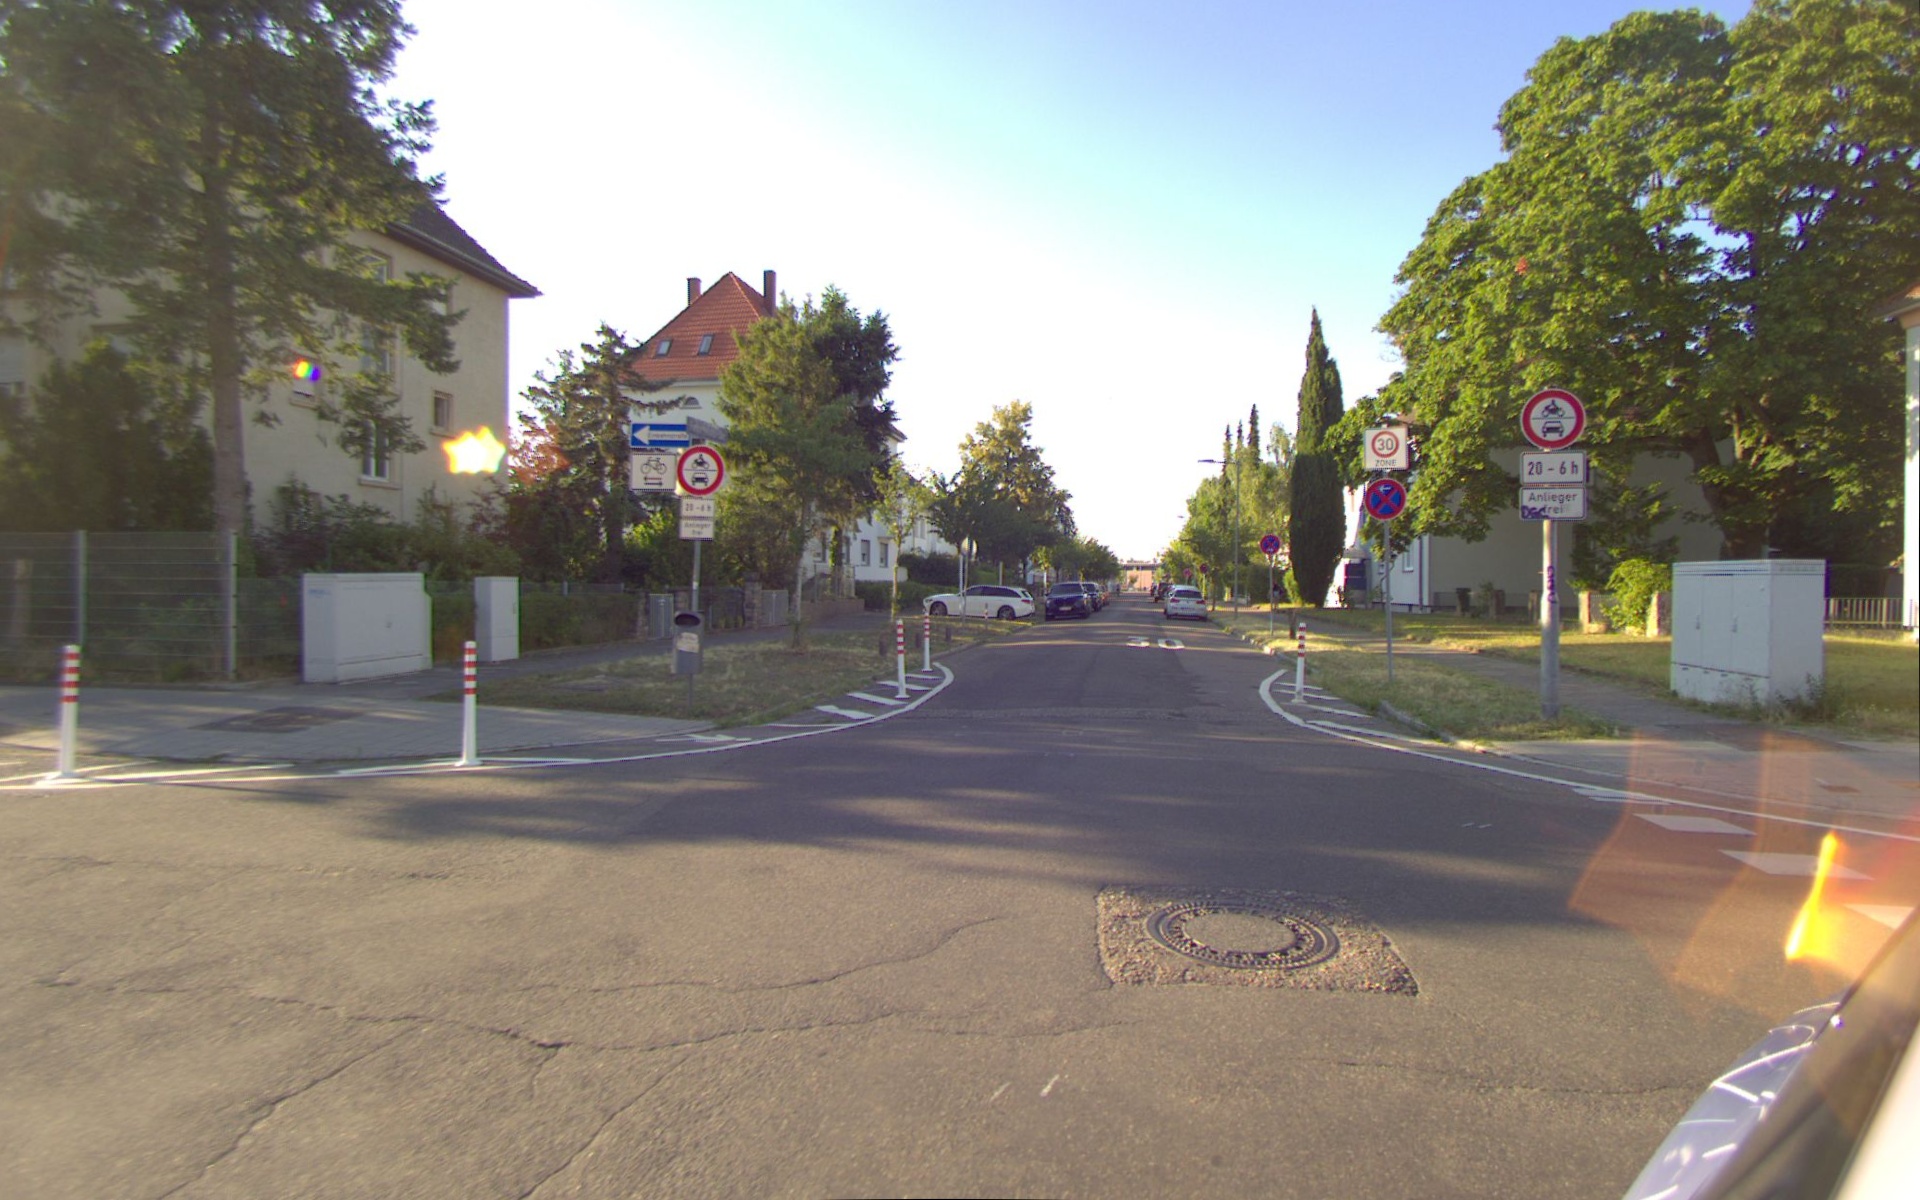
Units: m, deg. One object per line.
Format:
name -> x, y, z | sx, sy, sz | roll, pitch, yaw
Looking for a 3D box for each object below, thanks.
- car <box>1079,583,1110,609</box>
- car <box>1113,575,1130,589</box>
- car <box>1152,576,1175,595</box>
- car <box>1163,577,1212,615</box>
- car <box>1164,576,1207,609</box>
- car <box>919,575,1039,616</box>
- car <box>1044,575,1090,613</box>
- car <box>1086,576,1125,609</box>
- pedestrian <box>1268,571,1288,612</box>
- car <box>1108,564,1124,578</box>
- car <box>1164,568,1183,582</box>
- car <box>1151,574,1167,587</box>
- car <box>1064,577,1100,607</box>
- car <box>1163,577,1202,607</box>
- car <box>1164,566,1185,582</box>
car -> 8.726, -0.297, 65.952 | 1.938, 1.634, 4.240 | 0, 1, 7
car -> 19.197, -2.163, 120.425 | 1.938, 1.634, 4.240 | 0, 1, 7
car -> 18.098, -1.347, 90.157 | 1.940, 1.634, 4.236 | 0, 1, 10
car -> 10.178, -0.208, 45.507 | 1.940, 1.634, 4.236 | 0, 1, 10
car -> 11.441, -0.409, 51.525 | 1.940, 1.634, 4.236 | 0, 1, 10
car -> 0.838, -0.210, 41.915 | 4.759, 1.634, 1.967 | 1, 1, 10
car -> 4.846, -0.299, 45.602 | 1.938, 1.634, 4.240 | 0, 1, 7
car -> 7.515, -0.403, 52.624 | 1.938, 1.634, 4.240 | 0, 1, 7
pedestrian -> 15.740, -0.438, 50.112 | 0.884, 2.039, 0.691 | 0, 1, 10
car -> 20.255, -3.795, 131.485 | 1.938, 1.797, 4.240 | 0, 1, 7
car -> 25.296, -3.001, 120.031 | 1.940, 1.634, 4.236 | 0, 1, 10
car -> 25.998, -2.581, 132.464 | 1.940, 1.634, 4.236 | 0, 1, 10
car -> 6.920, -0.479, 57.337 | 1.938, 1.634, 4.240 | 0, 1, 7
car -> 12.357, -0.489, 56.394 | 1.940, 1.634, 4.236 | 0, 1, 10
car -> 22.215, -2.675, 104.922 | 1.940, 1.634, 4.236 | 0, 1, 10
